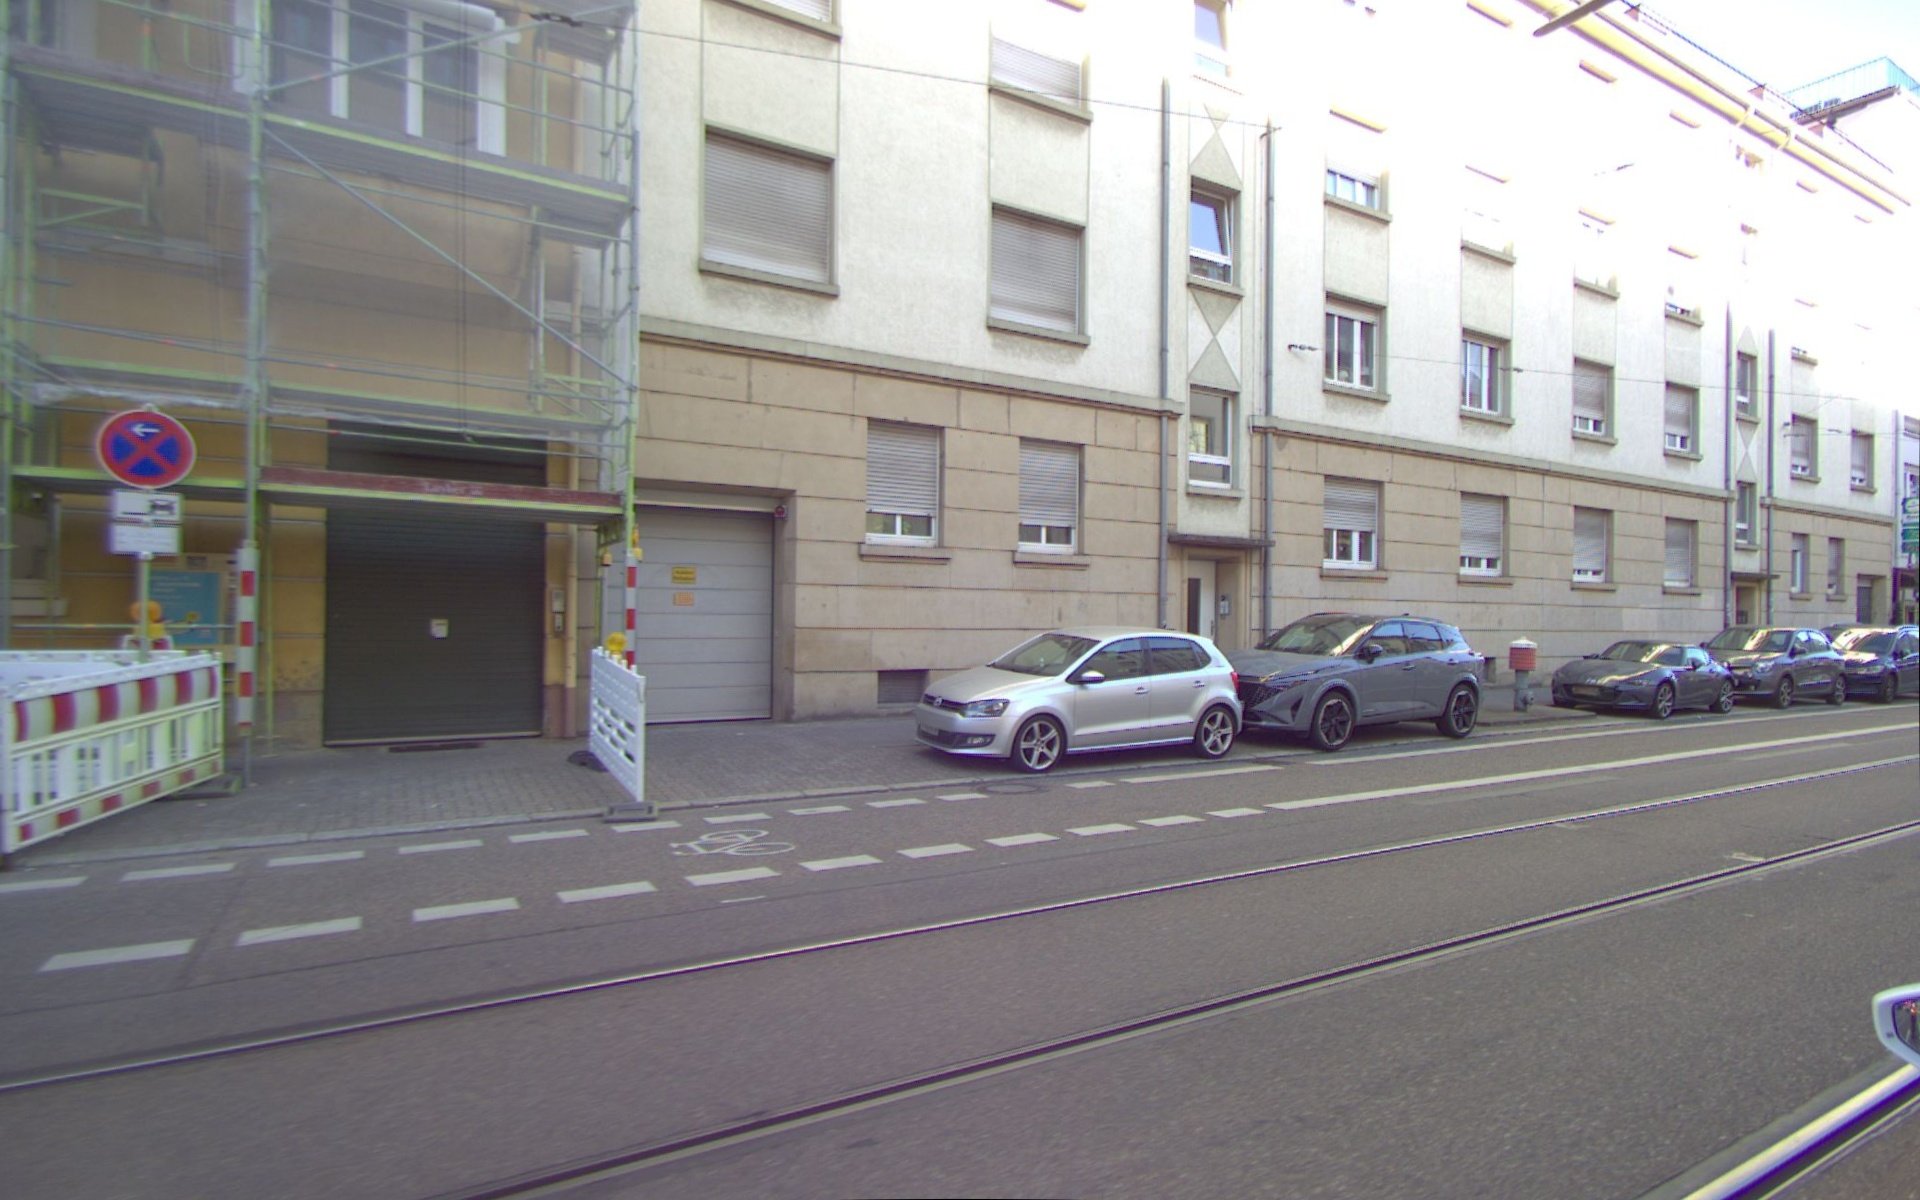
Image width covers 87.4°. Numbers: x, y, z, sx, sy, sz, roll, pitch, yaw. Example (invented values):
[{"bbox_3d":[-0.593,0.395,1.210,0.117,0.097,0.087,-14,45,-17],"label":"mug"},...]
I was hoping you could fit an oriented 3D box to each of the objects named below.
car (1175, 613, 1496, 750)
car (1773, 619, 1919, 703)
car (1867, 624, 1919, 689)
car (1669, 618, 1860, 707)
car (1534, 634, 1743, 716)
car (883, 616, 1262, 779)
[{"bbox_3d":[5.105,0.992,13.501,4.354,1.588,1.691,1,-1,-31],"label":"car"},{"bbox_3d":[20.063,1.323,22.327,4.194,1.637,1.691,2,1,-31],"label":"car"},{"bbox_3d":[24.897,1.451,25.429,4.337,1.530,1.690,2,1,-31],"label":"car"},{"bbox_3d":[16.355,1.233,20.380,3.953,1.590,1.691,2,1,-30],"label":"car"},{"bbox_3d":[12.085,1.288,17.852,3.744,1.232,1.690,2,1,-32],"label":"car"},{"bbox_3d":[1.306,0.994,11.237,3.953,1.435,1.691,2,2,-30],"label":"car"}]
